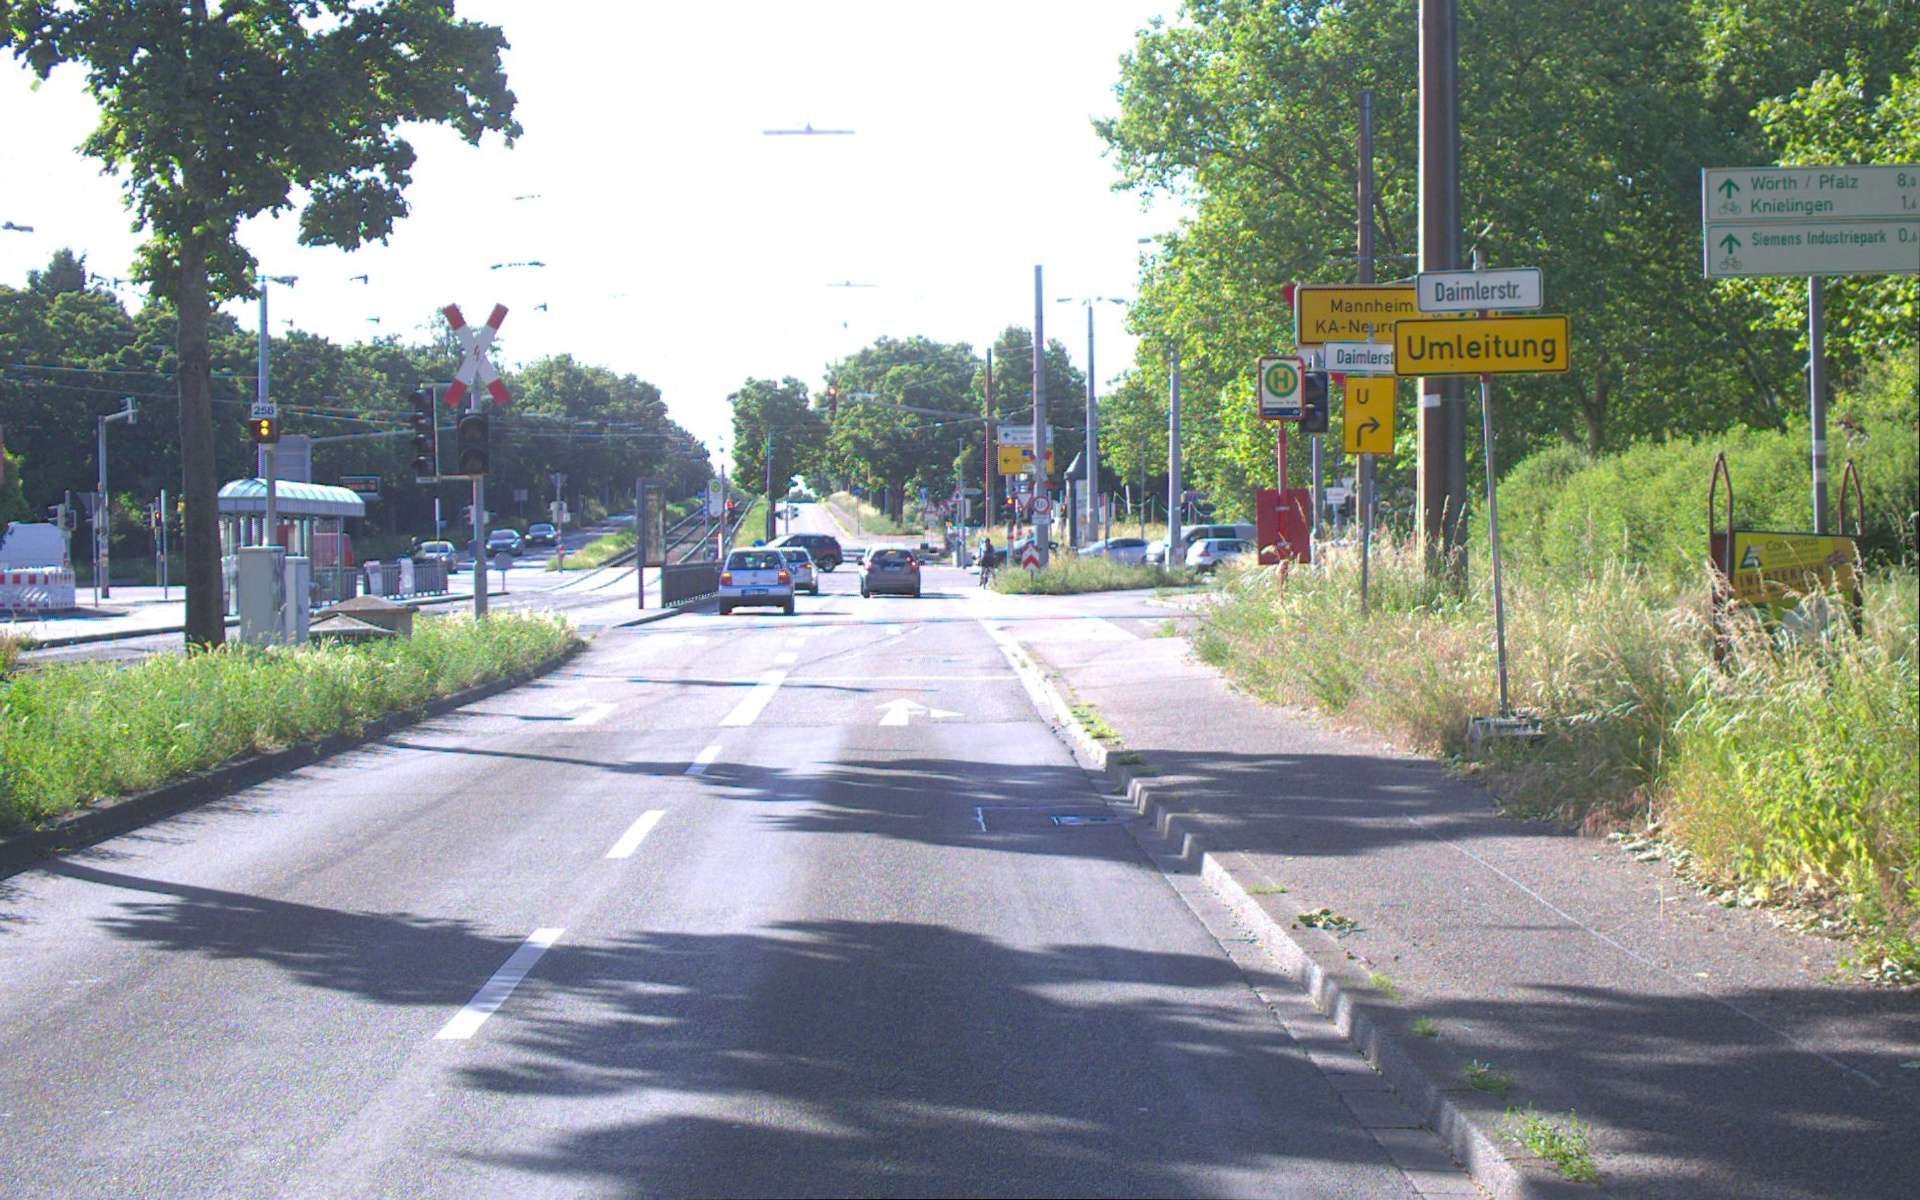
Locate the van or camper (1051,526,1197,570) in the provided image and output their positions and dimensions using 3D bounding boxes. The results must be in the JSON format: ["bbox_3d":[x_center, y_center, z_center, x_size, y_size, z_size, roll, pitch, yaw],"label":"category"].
[{"bbox_3d":[6.959,-2.203,145.931,5.967,1.822,2.000,0,1,-4],"label":"van or camper"}]

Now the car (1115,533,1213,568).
[{"bbox_3d":[9.064,-2.198,152.931,3.986,1.468,1.752,1,1,-22],"label":"car"}]

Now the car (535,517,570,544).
[{"bbox_3d":[-25.291,-4.311,213.316,1.993,1.599,4.756,0,1,-8],"label":"car"}]

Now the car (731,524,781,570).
[{"bbox_3d":[-9.019,-2.354,152.309,1.993,2.007,4.492,0,1,-1],"label":"car"}]

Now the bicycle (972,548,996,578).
[{"bbox_3d":[0.811,-1.238,115.762,0.722,0.985,2.876,1,1,-1],"label":"bicycle"}]

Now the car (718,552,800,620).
[{"bbox_3d":[-4.363,-0.321,74.939,1.619,1.413,3.351,-1,1,-1],"label":"car"}]

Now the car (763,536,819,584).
[{"bbox_3d":[-5.260,-1.247,107.242,1.619,1.452,4.085,0,1,-1],"label":"car"}]

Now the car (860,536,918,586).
[{"bbox_3d":[-2.085,-1.164,101.768,1.668,1.457,3.586,0,1,-1],"label":"car"}]

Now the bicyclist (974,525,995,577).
[{"bbox_3d":[0.818,-1.642,115.677,0.666,1.710,0.948,1,0,-1],"label":"bicyclist"}]
